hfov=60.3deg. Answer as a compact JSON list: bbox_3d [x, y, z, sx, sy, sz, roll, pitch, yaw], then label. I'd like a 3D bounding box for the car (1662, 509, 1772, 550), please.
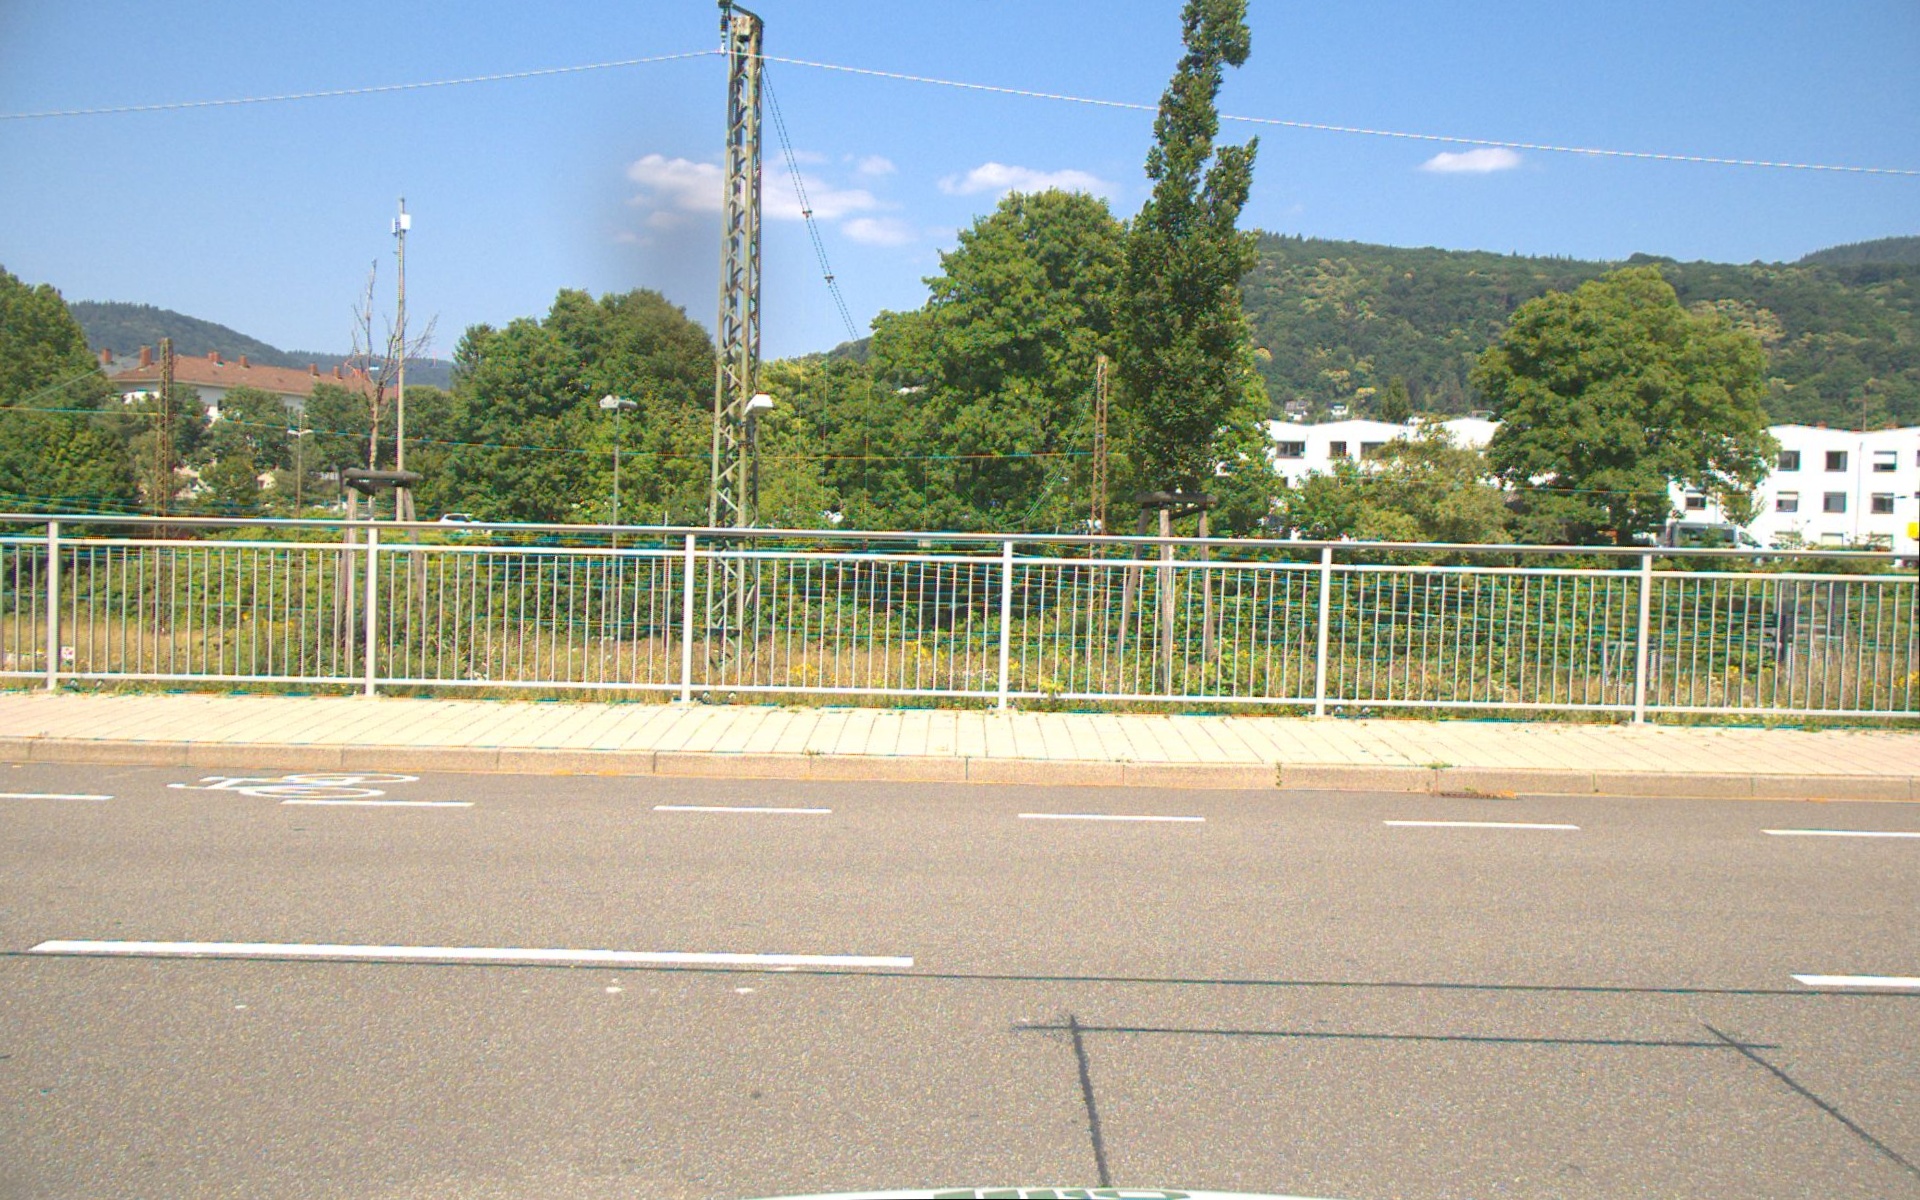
[{"bbox_3d":[43.366,-4.035,94.884,5.383,2.139,2.137,0,-2,10],"label":"car"}]

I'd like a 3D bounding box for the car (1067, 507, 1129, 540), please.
[{"bbox_3d":[9.216,-5.095,110.514,3.838,2.049,1.756,0,-1,17],"label":"car"}]

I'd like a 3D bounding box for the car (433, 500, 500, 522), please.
[{"bbox_3d":[-32.753,-5.886,109.726,4.221,1.390,1.863,3,3,29],"label":"car"}]
